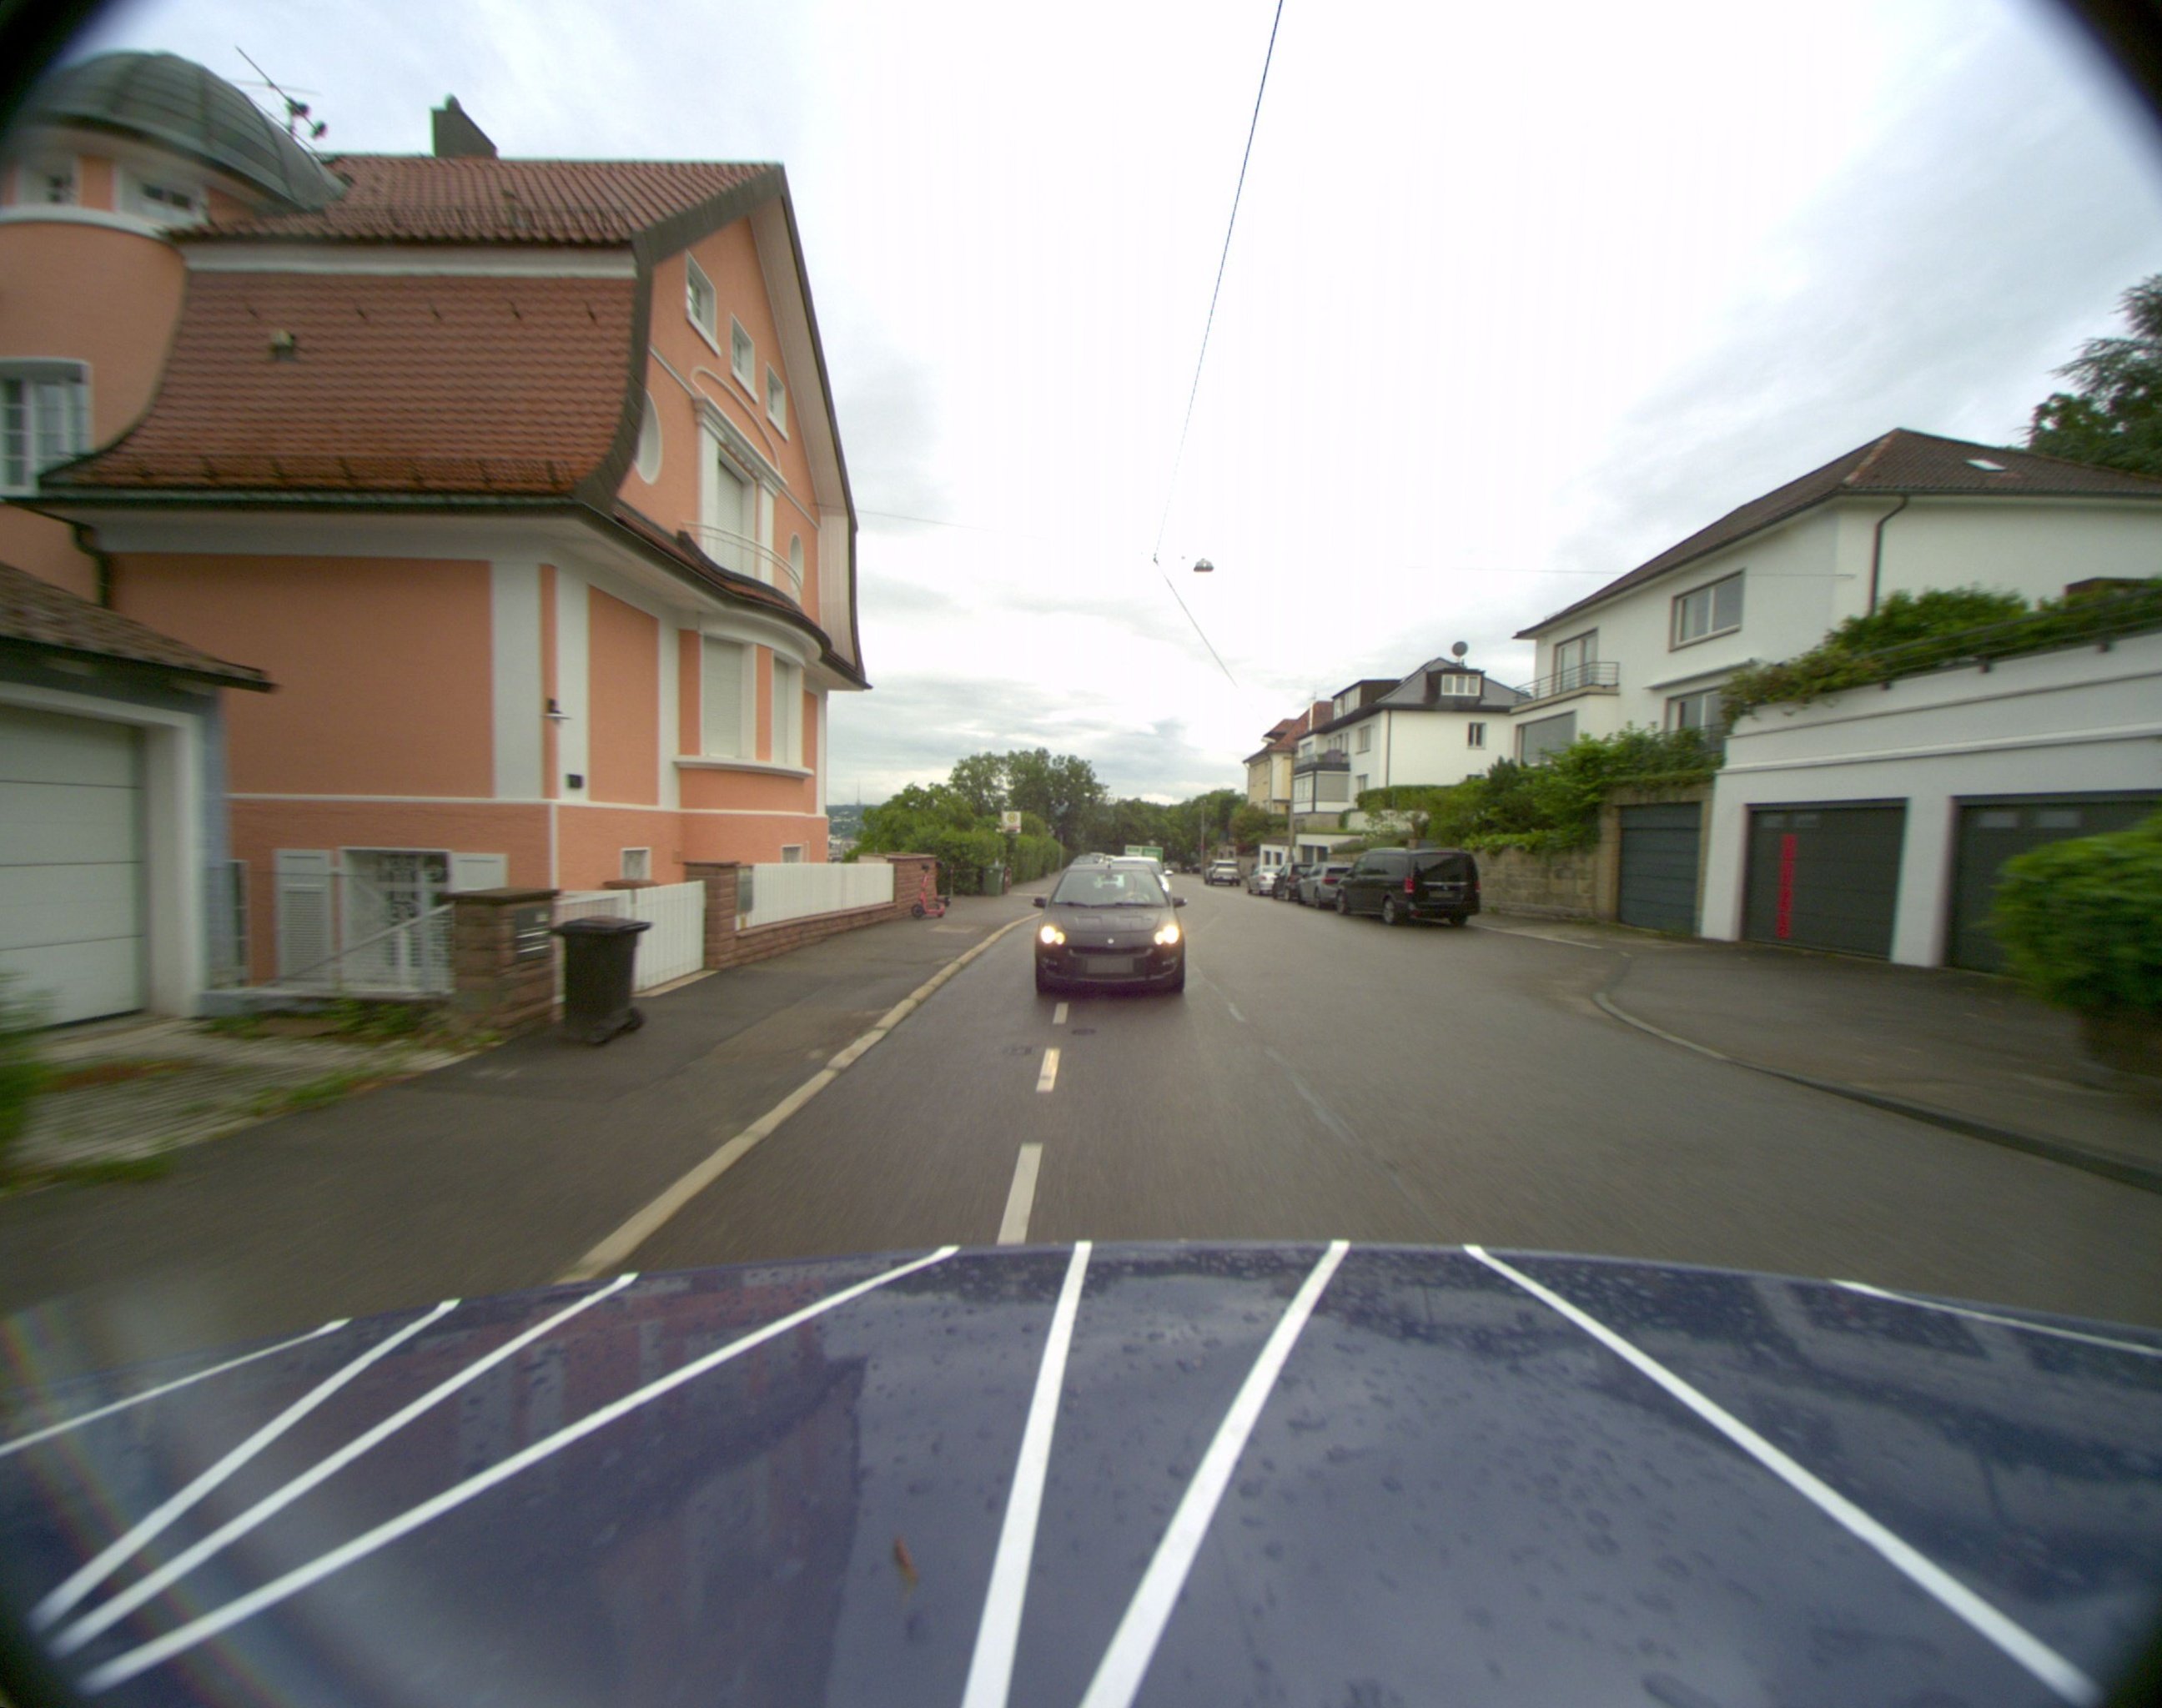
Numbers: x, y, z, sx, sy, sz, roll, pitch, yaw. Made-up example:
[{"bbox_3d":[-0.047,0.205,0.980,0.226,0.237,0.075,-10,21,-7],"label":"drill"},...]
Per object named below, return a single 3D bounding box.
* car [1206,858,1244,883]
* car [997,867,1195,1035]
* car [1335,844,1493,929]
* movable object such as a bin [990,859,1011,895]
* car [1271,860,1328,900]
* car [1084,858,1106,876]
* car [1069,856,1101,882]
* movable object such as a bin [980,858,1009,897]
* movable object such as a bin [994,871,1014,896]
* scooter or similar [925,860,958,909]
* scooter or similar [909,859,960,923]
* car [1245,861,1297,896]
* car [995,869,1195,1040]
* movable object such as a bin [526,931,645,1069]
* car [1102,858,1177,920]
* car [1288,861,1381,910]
[{"bbox_3d":[9.032,1.003,47.903,1.868,1.492,4.001,0,1,4],"label":"car"},{"bbox_3d":[0.415,0.917,9.005,1.709,1.414,4.003,0,1,10],"label":"car"},{"bbox_3d":[8.535,0.754,20.013,1.999,1.945,4.774,-1,0,-1],"label":"car"},{"bbox_3d":[-2.795,0.801,26.432,0.613,1.239,0.684,0,1,5],"label":"movable object such as a bin"},{"bbox_3d":[8.728,1.017,30.528,1.521,1.482,2.894,-1,0,1],"label":"car"},{"bbox_3d":[1.237,1.086,66.192,1.928,1.447,4.000,0,1,1],"label":"car"},{"bbox_3d":[0.295,0.911,48.692,1.928,1.577,4.000,0,1,1],"label":"car"},{"bbox_3d":[-2.911,0.776,25.621,0.726,1.239,0.917,4,1,5],"label":"movable object such as a bin"},{"bbox_3d":[-2.736,1.035,27.086,0.613,0.858,0.590,0,1,5],"label":"movable object such as a bin"},{"bbox_3d":[-3.871,0.827,21.068,0.357,1.265,1.290,-1,3,-37],"label":"scooter or similar"},{"bbox_3d":[-3.381,0.832,17.622,0.355,1.394,1.481,1,1,26],"label":"scooter or similar"},{"bbox_3d":[8.735,1.103,35.159,1.594,1.482,3.438,-1,0,2],"label":"car"},{"bbox_3d":[0.399,0.965,8.993,1.694,1.482,3.943,-1,0,11],"label":"car"},{"bbox_3d":[-3.702,1.078,5.709,0.533,0.913,0.488,3,1,-1],"label":"movable object such as a bin"},{"bbox_3d":[1.590,0.933,21.859,1.928,1.577,4.000,0,1,1],"label":"car"},{"bbox_3d":[8.572,1.013,26.097,1.696,1.482,4.403,-1,0,-1],"label":"car"}]
